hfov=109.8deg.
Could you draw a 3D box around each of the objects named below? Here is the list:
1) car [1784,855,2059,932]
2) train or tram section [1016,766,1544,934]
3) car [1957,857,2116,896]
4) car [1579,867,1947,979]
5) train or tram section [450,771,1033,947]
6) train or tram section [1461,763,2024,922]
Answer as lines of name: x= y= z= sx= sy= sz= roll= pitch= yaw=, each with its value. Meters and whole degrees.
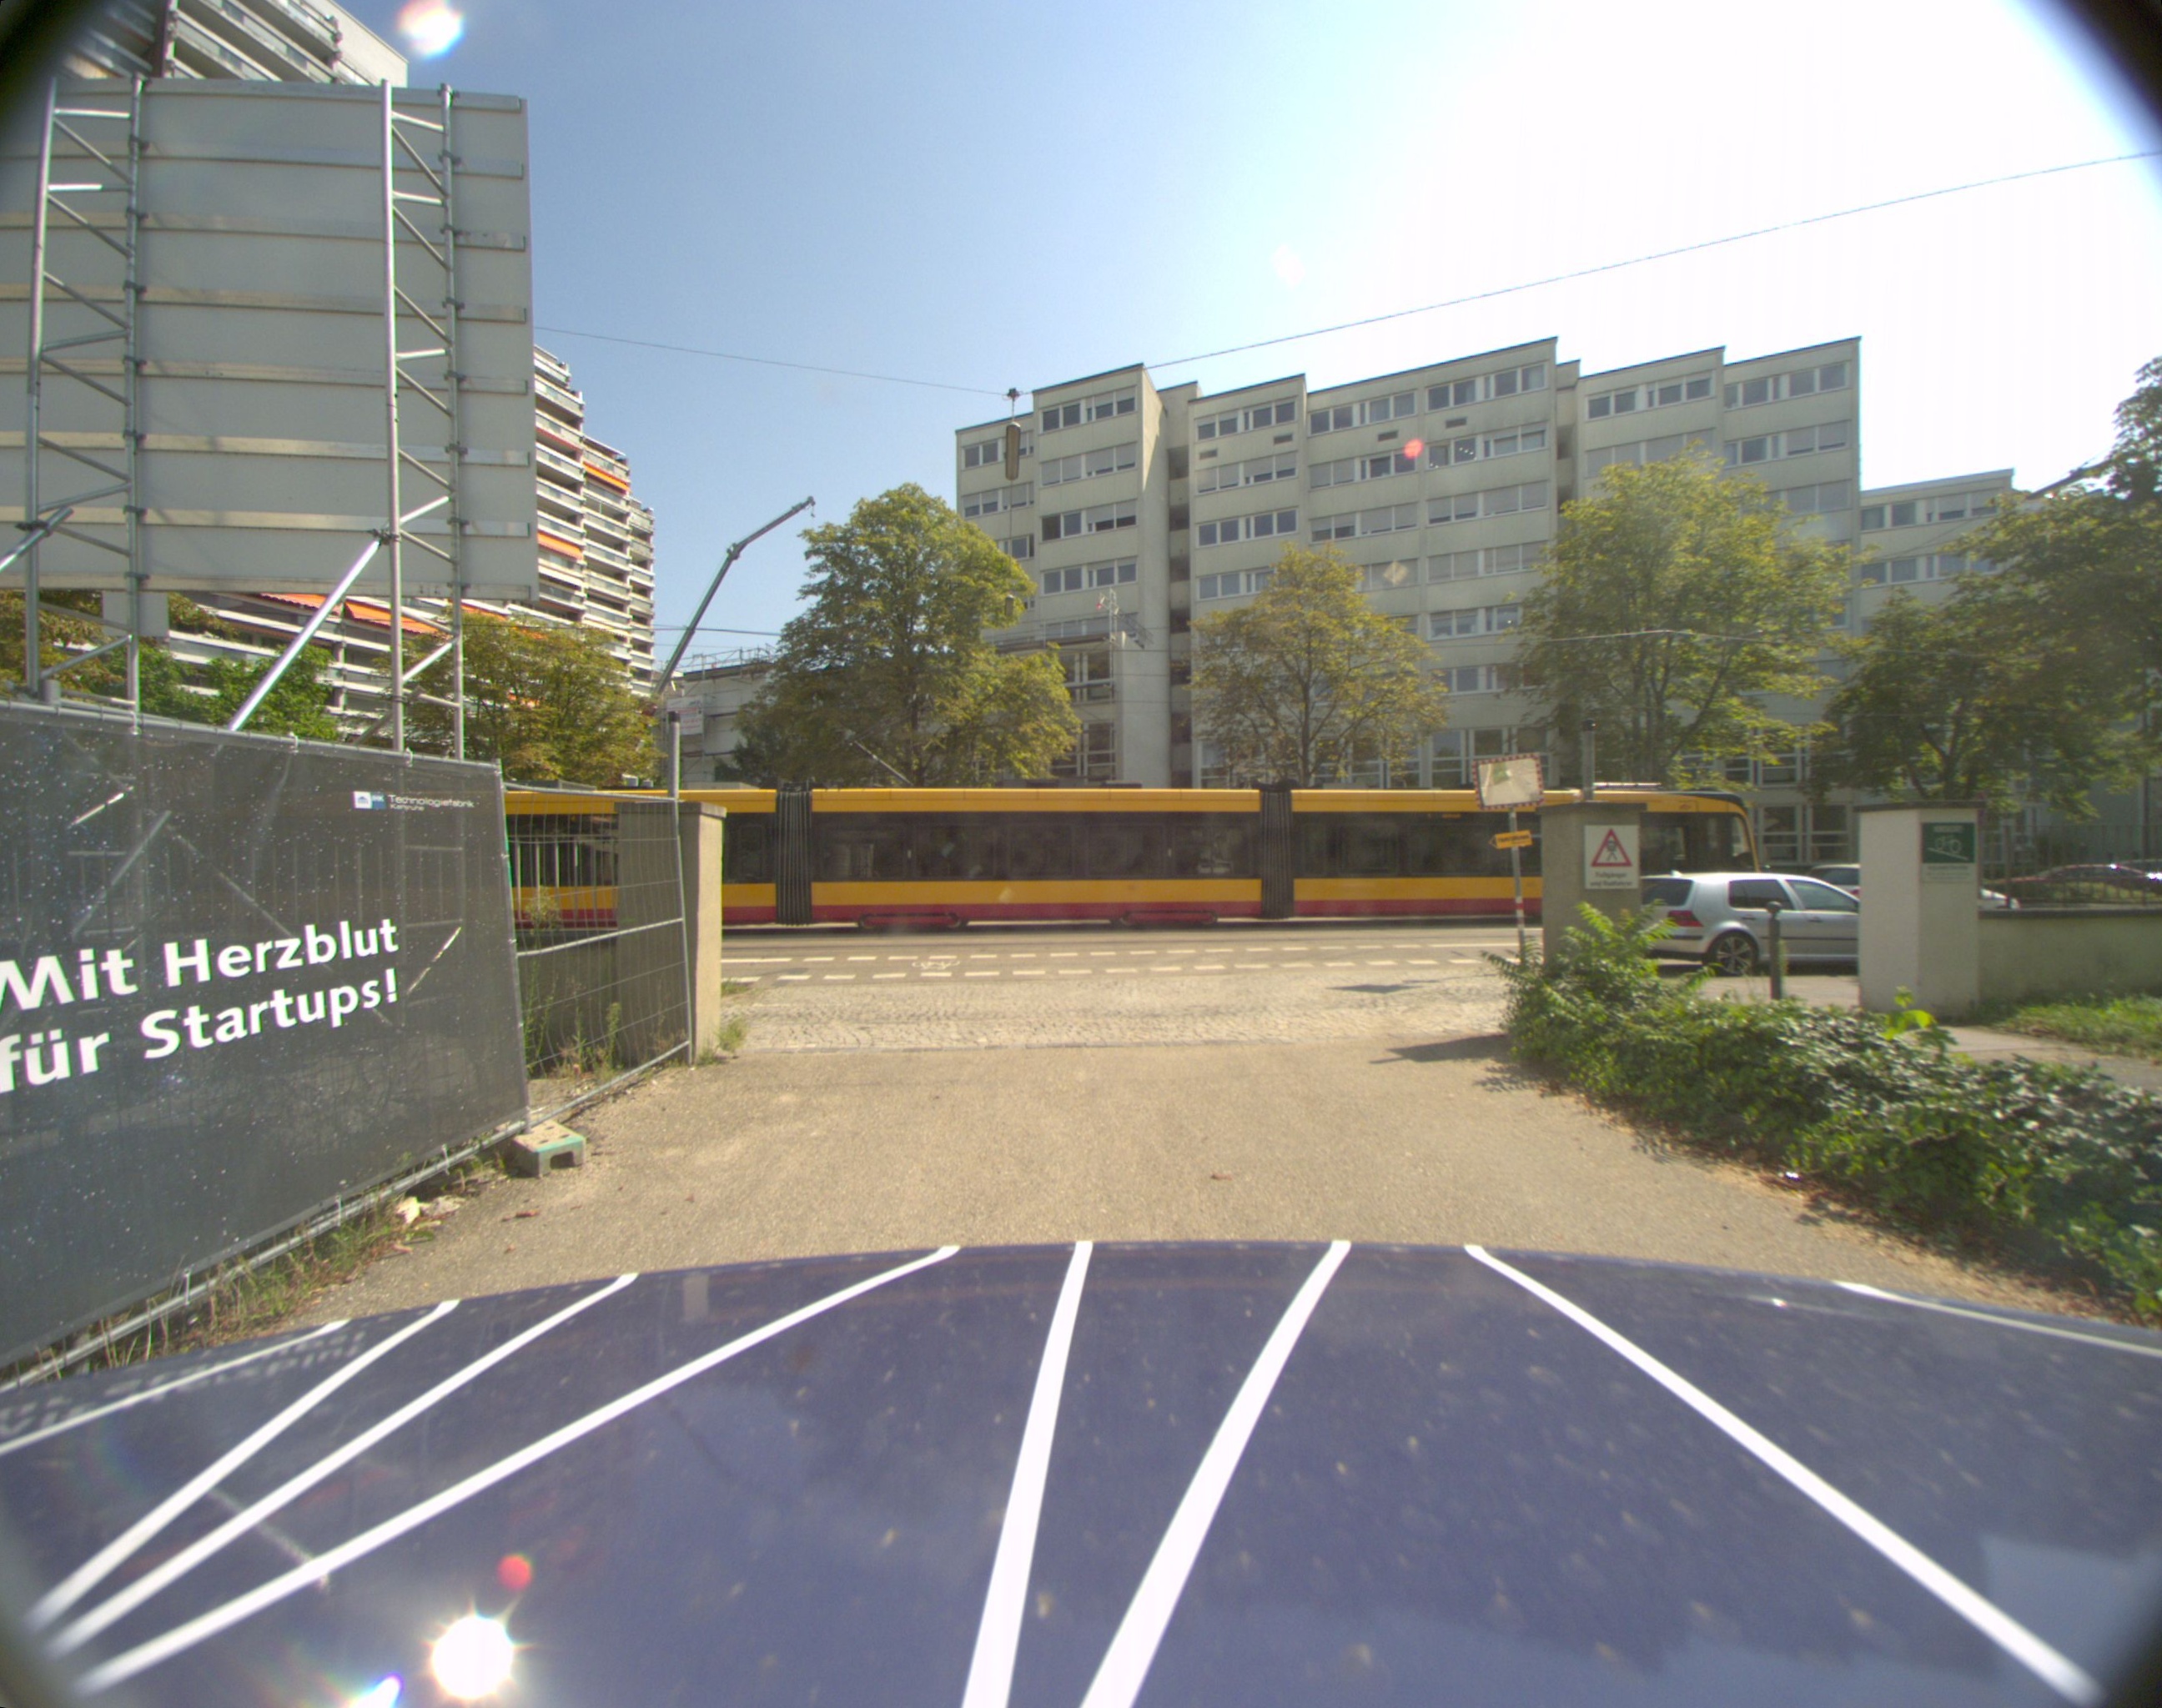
car: x=17.645 y=0.786 z=16.070 sx=4.017 sy=1.483 sz=1.824 roll=0 pitch=0 yaw=-5
train or tram section: x=4.653 y=-0.134 z=19.306 sx=12.407 sy=3.683 sz=3.507 roll=-1 pitch=1 yaw=-4
car: x=37.221 y=0.830 z=29.753 sx=3.660 sy=1.443 sz=1.680 roll=0 pitch=0 yaw=44
car: x=9.608 y=0.927 z=10.935 sx=3.730 sy=1.437 sz=1.797 roll=0 pitch=-1 yaw=-2
train or tram section: x=-7.413 y=0.061 z=18.483 sx=12.407 sy=3.683 sz=3.507 roll=-1 pitch=1 yaw=-4
train or tram section: x=17.063 y=-0.326 z=20.156 sx=12.407 sy=3.683 sz=3.507 roll=-1 pitch=1 yaw=-4
